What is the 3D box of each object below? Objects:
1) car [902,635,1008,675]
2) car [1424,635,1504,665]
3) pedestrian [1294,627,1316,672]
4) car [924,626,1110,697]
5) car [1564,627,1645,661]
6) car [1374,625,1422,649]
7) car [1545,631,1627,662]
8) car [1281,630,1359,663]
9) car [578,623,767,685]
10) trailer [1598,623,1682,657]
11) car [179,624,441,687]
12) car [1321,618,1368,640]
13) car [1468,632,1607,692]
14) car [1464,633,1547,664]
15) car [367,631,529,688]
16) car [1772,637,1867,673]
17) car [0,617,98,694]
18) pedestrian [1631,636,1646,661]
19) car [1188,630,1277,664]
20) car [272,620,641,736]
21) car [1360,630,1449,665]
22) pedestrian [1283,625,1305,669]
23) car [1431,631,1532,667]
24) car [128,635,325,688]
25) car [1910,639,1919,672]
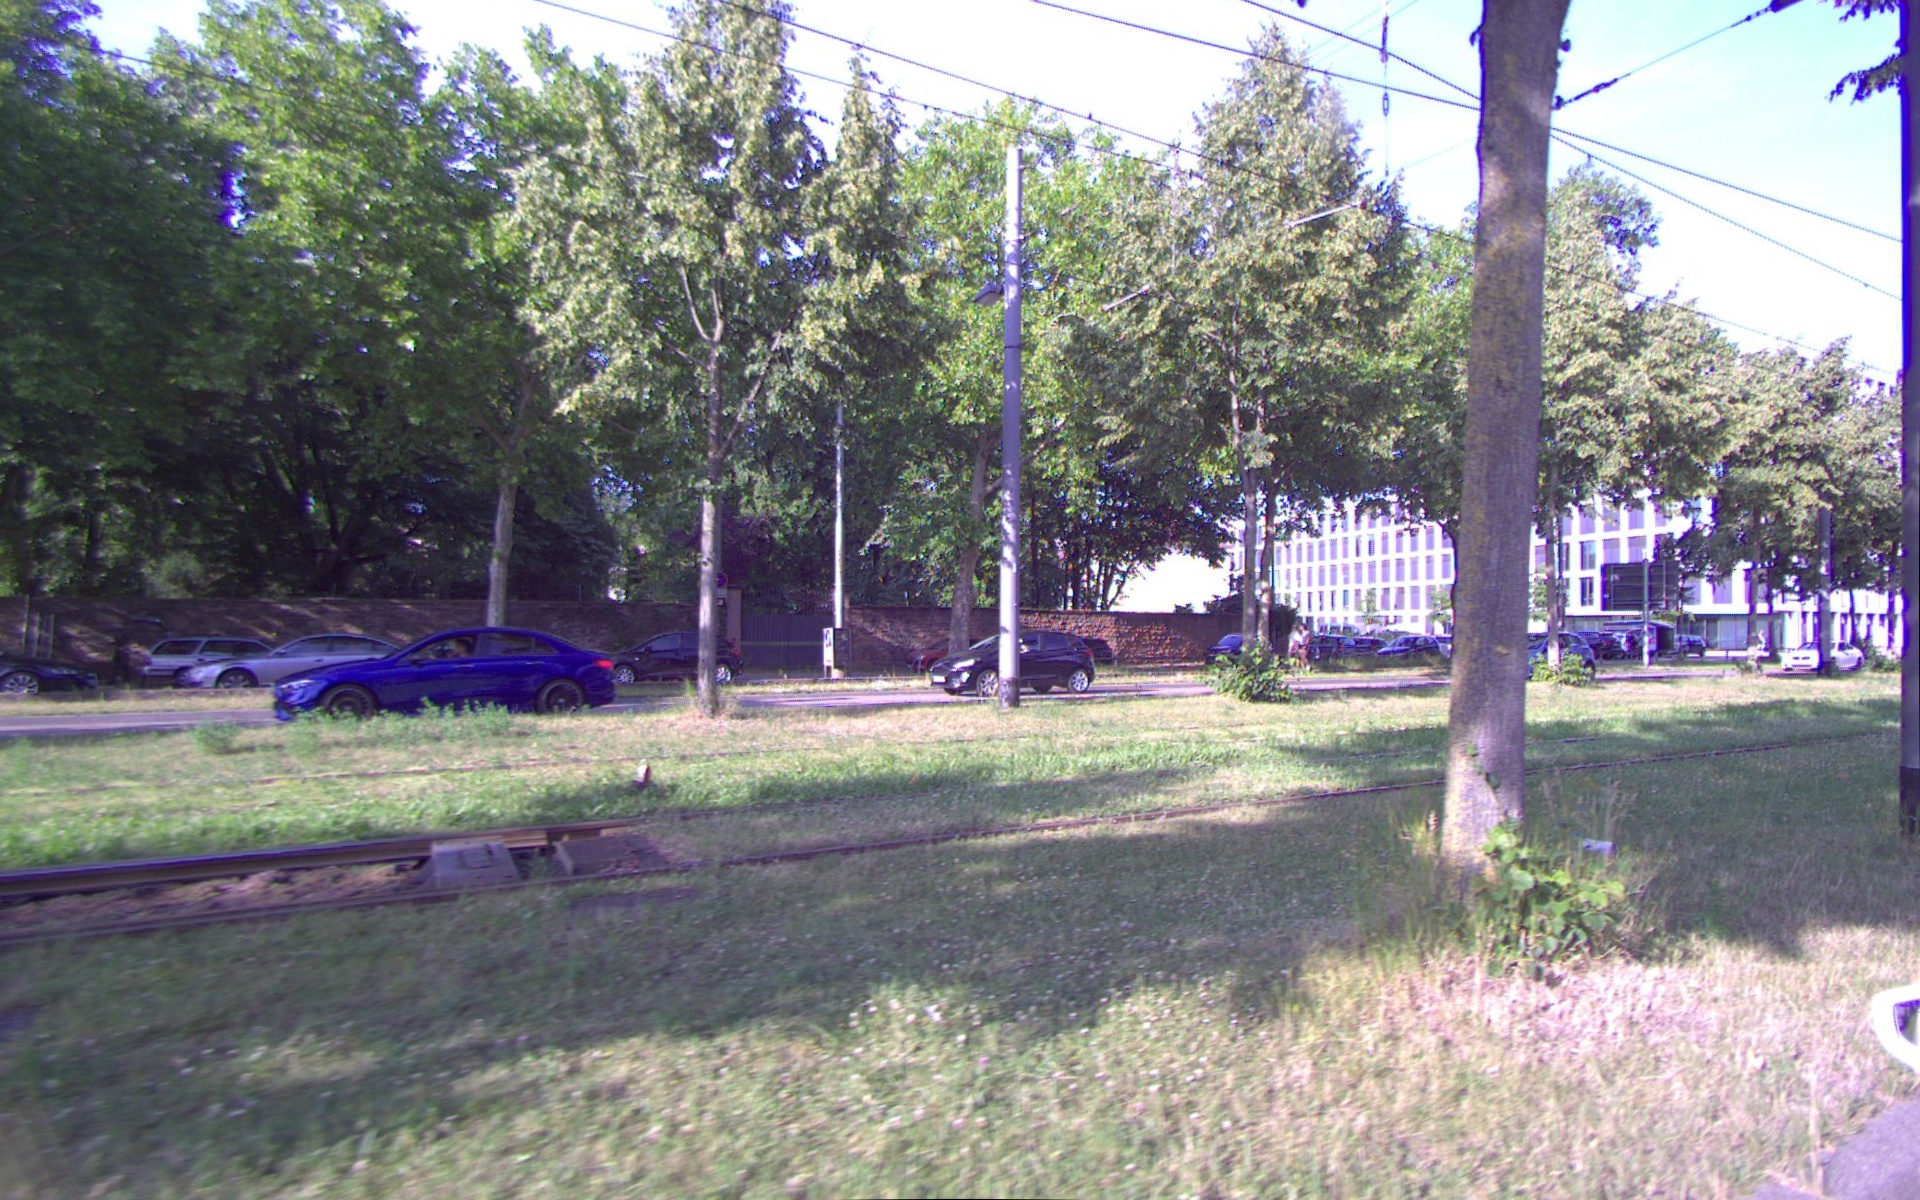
[{"bbox_3d":[-0.181,2.201,40.103,3.862,1.461,1.711,2,0,-28],"label":"car"},{"bbox_3d":[28.056,2.775,56.041,1.786,1.447,3.633,2,0,-27],"label":"car"},{"bbox_3d":[11.697,1.675,34.079,0.595,1.495,0.384,2,0,-30],"label":"pedestrian"},{"bbox_3d":[1.333,1.395,23.134,3.988,1.454,1.674,2,0,-30],"label":"car"},{"bbox_3d":[41.069,2.790,64.090,1.736,1.973,3.975,2,0,-28],"label":"car"},{"bbox_3d":[50.263,4.258,115.213,4.944,2.566,1.807,2,0,-13],"label":"car"},{"bbox_3d":[38.643,2.846,62.092,1.736,1.665,3.975,2,0,-28],"label":"car"},{"bbox_3d":[18.868,2.417,52.765,1.718,1.506,3.850,2,0,-21],"label":"car"},{"bbox_3d":[-7.443,1.388,26.120,4.420,1.450,1.822,2,0,-29],"label":"car"},{"bbox_3d":[45.421,2.646,67.219,1.734,2.081,4.350,2,0,-26],"label":"trailer"},{"bbox_3d":[-14.574,1.254,22.887,4.840,1.260,1.669,2,0,-29],"label":"car"},{"bbox_3d":[40.880,3.105,106.737,4.423,2.187,1.848,2,0,-18],"label":"car"},{"bbox_3d":[16.536,1.746,28.736,4.083,1.552,1.603,2,0,-30],"label":"car"},{"bbox_3d":[32.142,2.839,59.323,1.832,1.581,3.972,2,0,-27],"label":"car"},{"bbox_3d":[-16.104,1.865,31.738,4.420,1.633,1.822,2,0,-29],"label":"car"},{"bbox_3d":[37.958,2.445,44.334,4.756,1.495,1.675,2,-4,-30],"label":"car"},{"bbox_3d":[-19.914,1.085,19.975,3.913,1.450,1.662,2,0,-30],"label":"car"},{"bbox_3d":[41.998,2.989,62.157,0.562,1.500,0.519,2,0,-30],"label":"pedestrian"},{"bbox_3d":[13.124,2.257,48.269,4.319,1.461,1.774,2,0,-36],"label":"car"},{"bbox_3d":[-7.271,1.094,14.864,4.615,1.454,1.674,2,0,-30],"label":"car"},{"bbox_3d":[20.258,2.174,45.734,3.988,1.454,1.674,2,0,-30],"label":"car"},{"bbox_3d":[11.473,1.610,34.502,0.595,1.495,0.384,2,0,-30],"label":"pedestrian"},{"bbox_3d":[29.971,2.795,57.899,1.861,1.758,5.041,2,0,-27],"label":"car"},{"bbox_3d":[-21.127,1.773,29.172,4.328,1.393,1.692,2,0,-26],"label":"car"},{"bbox_3d":[42.639,2.433,43.193,3.653,1.411,1.576,2,0,-30],"label":"car"}]
